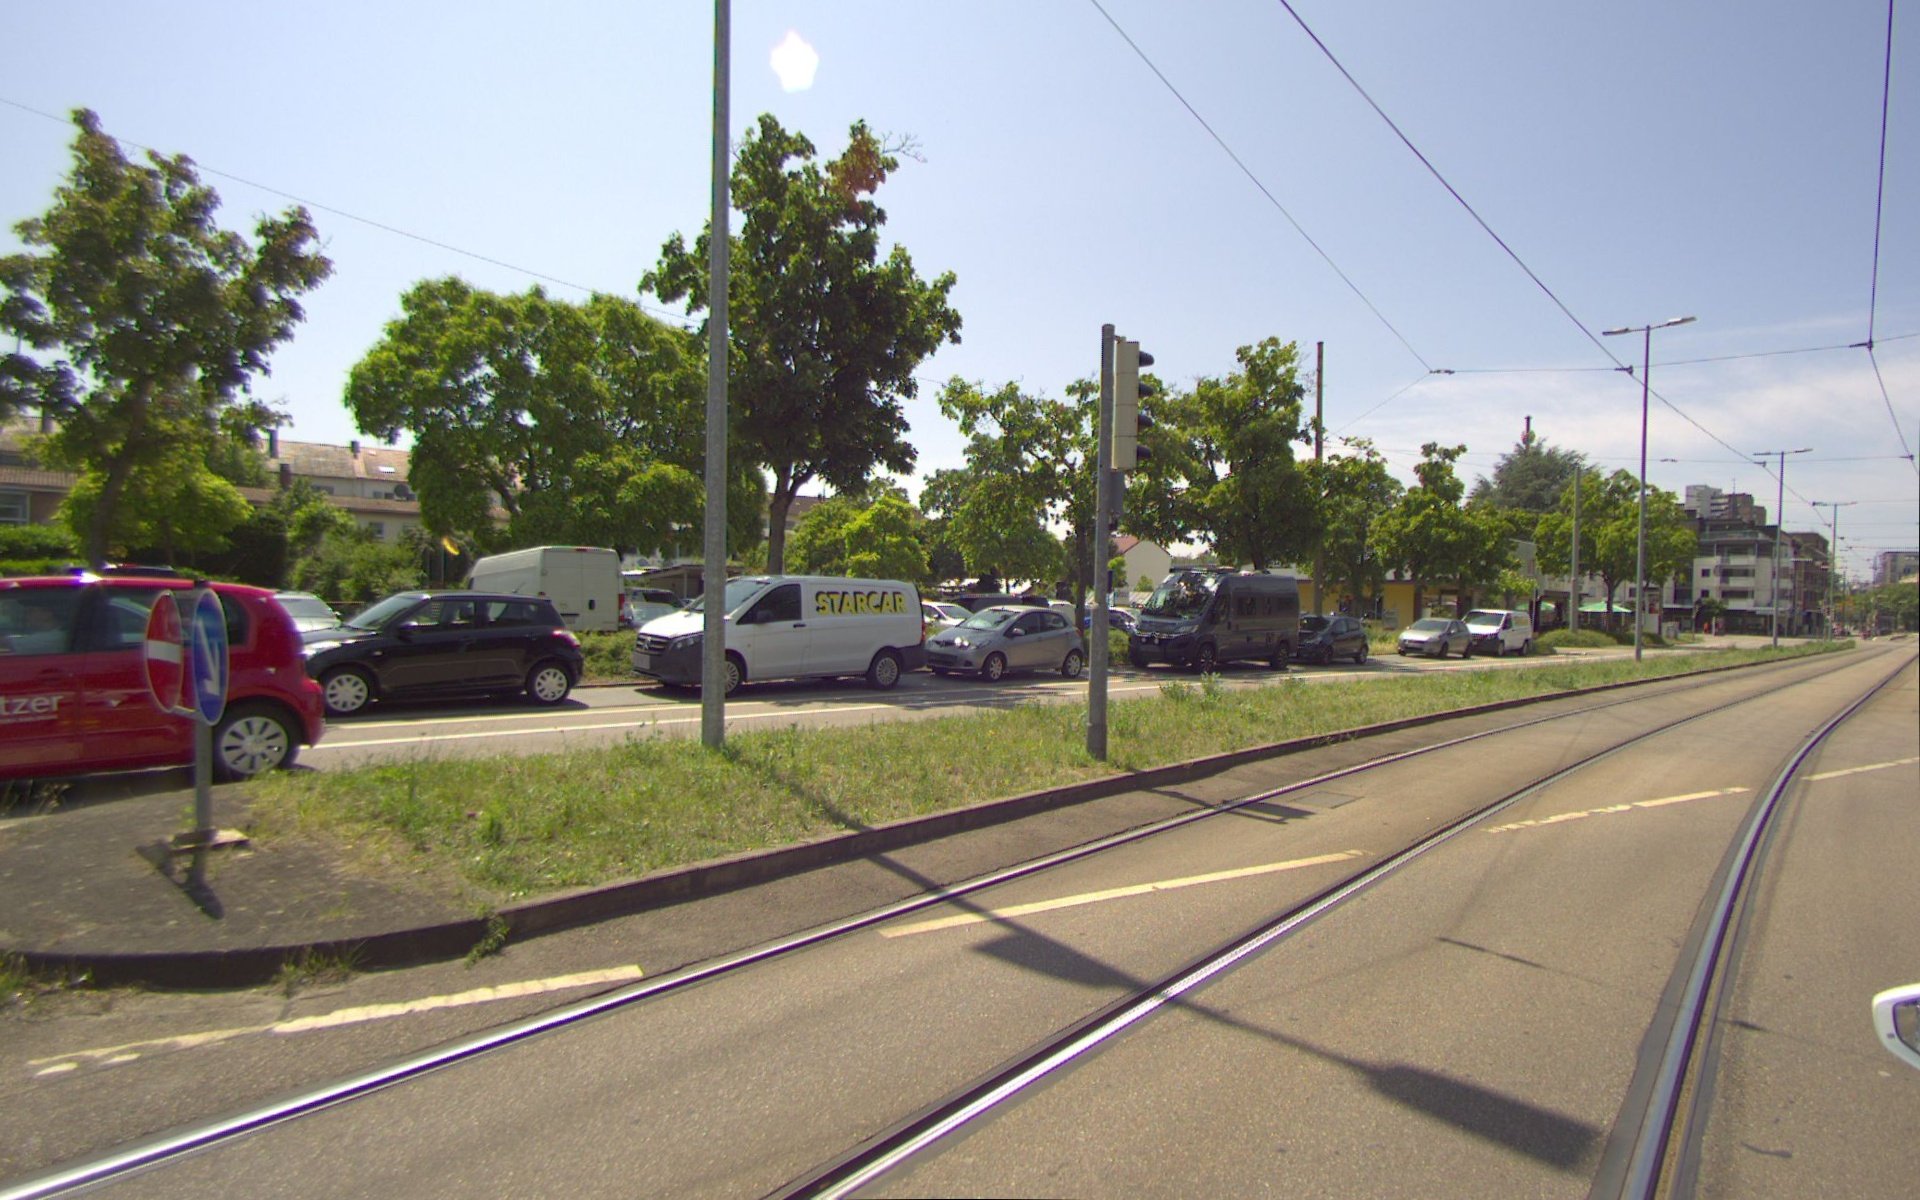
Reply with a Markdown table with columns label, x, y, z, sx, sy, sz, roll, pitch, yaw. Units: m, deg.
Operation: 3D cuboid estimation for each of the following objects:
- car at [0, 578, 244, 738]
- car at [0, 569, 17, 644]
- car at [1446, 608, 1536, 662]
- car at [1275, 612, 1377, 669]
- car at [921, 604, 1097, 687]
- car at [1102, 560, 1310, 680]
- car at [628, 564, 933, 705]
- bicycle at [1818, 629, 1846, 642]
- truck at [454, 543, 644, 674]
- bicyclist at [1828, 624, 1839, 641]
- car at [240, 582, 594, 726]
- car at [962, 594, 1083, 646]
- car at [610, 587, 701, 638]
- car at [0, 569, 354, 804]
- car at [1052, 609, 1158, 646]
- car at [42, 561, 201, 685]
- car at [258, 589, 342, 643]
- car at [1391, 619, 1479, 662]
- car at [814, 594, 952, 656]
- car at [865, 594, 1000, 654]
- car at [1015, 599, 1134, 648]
| label | x | y | z | sx | sy | sz | roll | pitch | yaw |
| --- | --- | --- | --- | --- | --- | --- | --- | --- | --- |
| car | -10.146 | 0.544 | 9.944 | 1.700 | 1.446 | 4.743 | 6 | 3 | 43 |
| car | -25.781 | 0.105 | 25.916 | 4.085 | 1.845 | 1.959 | 2 | 0 | 45 |
| car | 22.629 | 1.446 | 42.687 | 1.856 | 1.992 | 5.131 | 6 | 3 | 45 |
| car | 11.284 | 1.211 | 30.841 | 1.298 | 1.543 | 3.998 | 6 | 3 | 45 |
| car | 1.086 | 0.890 | 20.844 | 1.391 | 1.459 | 3.815 | 6 | 3 | 45 |
| car | 6.611 | 0.494 | 26.441 | 2.373 | 2.692 | 6.134 | 6 | 3 | 44 |
| car | -2.887 | 0.523 | 16.925 | 4.771 | 1.963 | 1.845 | 1 | 3 | -43 |
| bicycle | 107.068 | 4.337 | 123.334 | 2.474 | 1.438 | 0.636 | 1 | 0 | 32 |
| truck | -10.051 | 0.174 | 24.272 | 2.415 | 2.796 | 5.524 | 1 | 0 | -43 |
| bicyclist | 107.204 | 3.990 | 123.288 | 0.943 | 2.119 | 0.850 | 1 | 0 | 33 |
| car | -6.942 | 0.626 | 13.054 | 3.758 | 1.504 | 1.599 | 1 | 3 | -43 |
| car | 2.359 | 0.732 | 38.747 | 1.785 | 1.837 | 4.671 | 1 | 0 | -44 |
| car | -11.966 | 0.453 | 39.310 | 1.766 | 1.845 | 4.088 | 1 | 1 | -43 |
| car | -6.350 | 0.536 | 6.783 | 1.640 | 1.428 | 3.584 | -1 | -1 | 44 |
| car | 6.100 | 1.129 | 42.489 | 4.165 | 1.430 | 1.845 | 1 | 0 | 44 |
| car | -15.498 | 0.365 | 18.491 | 4.166 | 2.022 | 1.845 | 1 | 0 | 44 |
| car | -21.121 | 0.465 | 32.078 | 1.500 | 1.539 | 4.086 | 1 | 1 | -44 |
| car | 17.973 | 1.493 | 37.939 | 3.839 | 1.439 | 1.616 | 1 | 2 | -43 |
| car | -2.530 | 0.748 | 32.113 | 4.668 | 1.837 | 1.786 | 1 | 0 | 44 |
| car | -0.983 | 0.754 | 33.651 | 4.668 | 1.837 | 1.786 | 1 | 0 | 44 |
| car | 4.515 | 0.902 | 40.114 | 1.785 | 1.837 | 4.671 | 1 | 0 | -44 |
